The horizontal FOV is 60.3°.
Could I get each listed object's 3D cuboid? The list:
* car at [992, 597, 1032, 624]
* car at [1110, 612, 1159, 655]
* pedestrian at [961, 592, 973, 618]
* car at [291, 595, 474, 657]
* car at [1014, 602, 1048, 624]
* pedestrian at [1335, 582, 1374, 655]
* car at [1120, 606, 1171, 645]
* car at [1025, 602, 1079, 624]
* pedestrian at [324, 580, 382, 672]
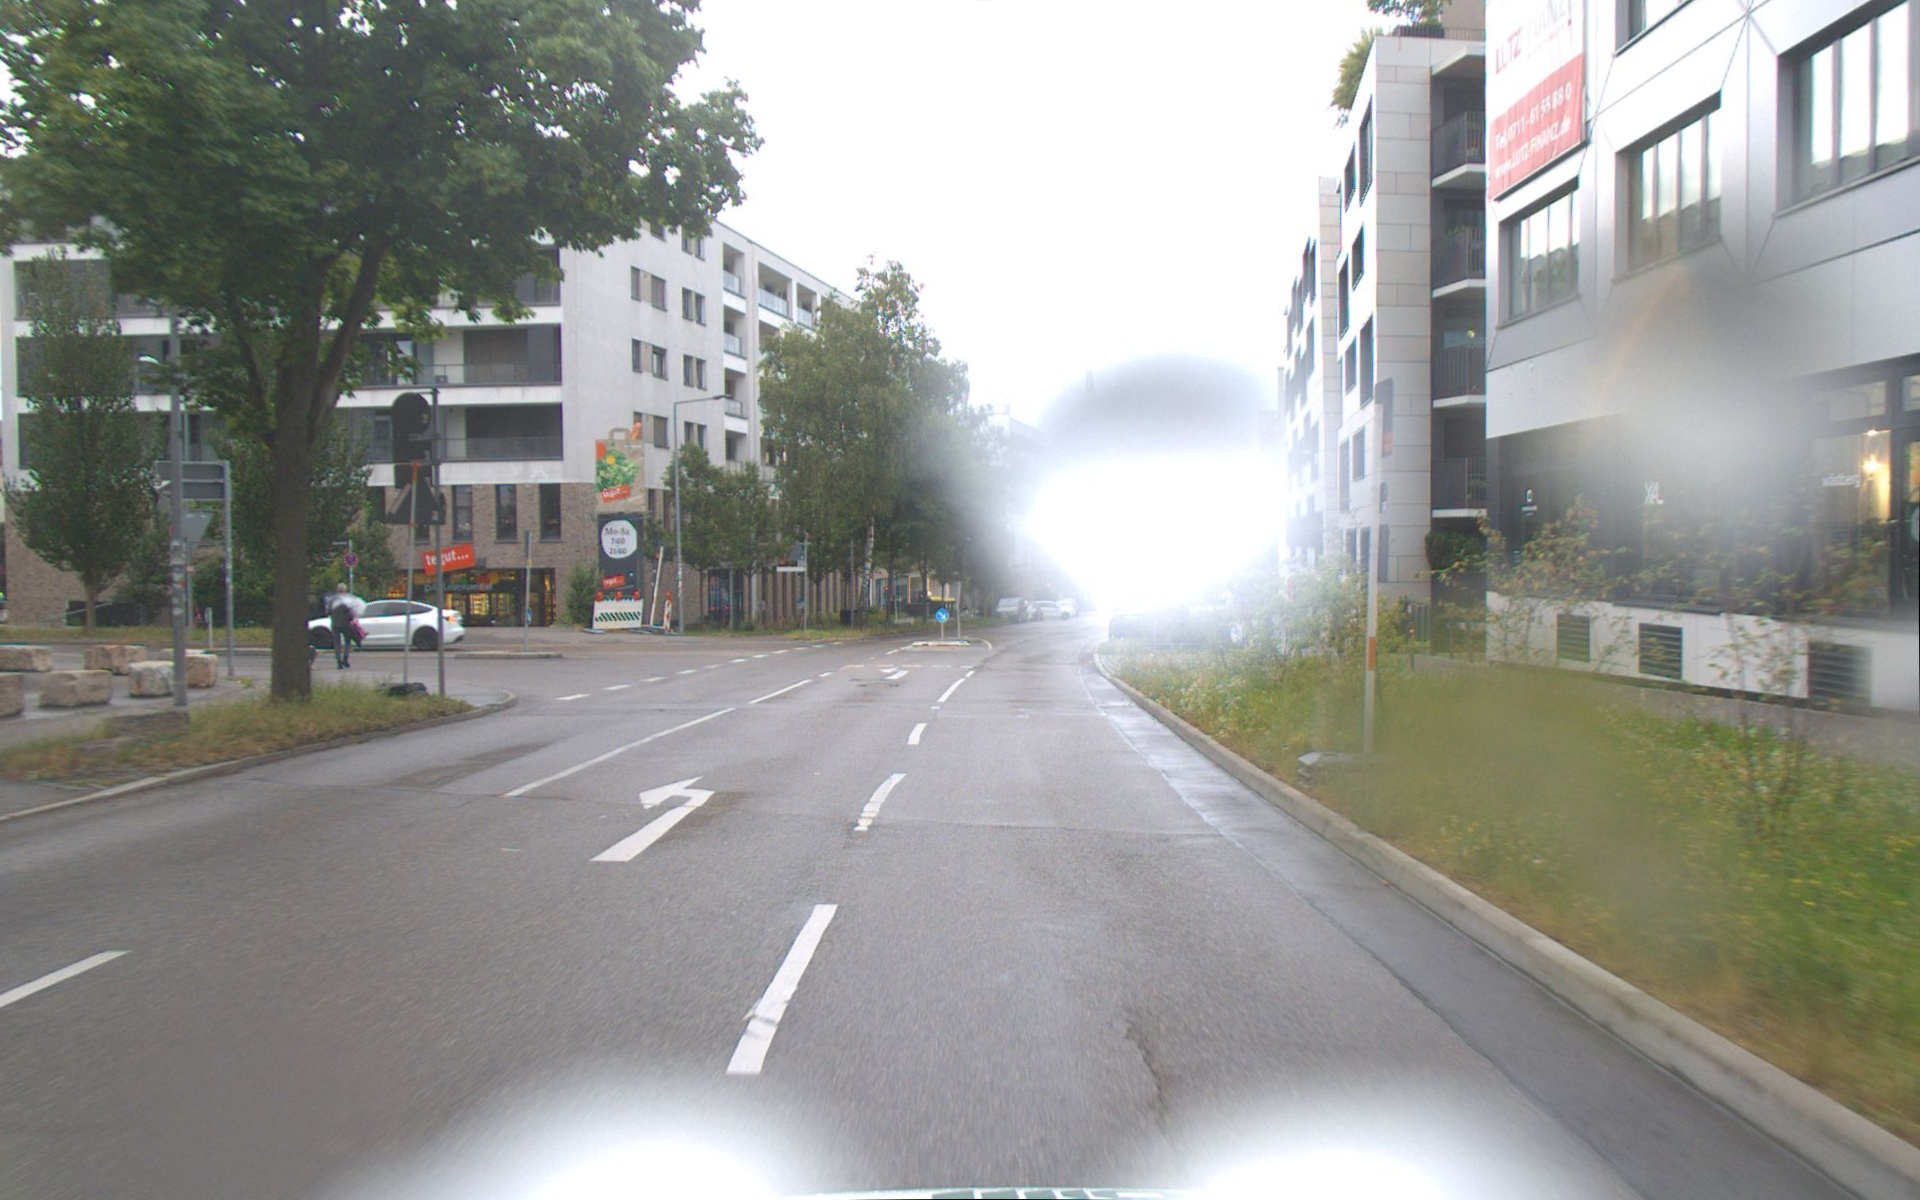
[{"bbox_3d":[3.472,0.687,109.059,2.033,1.637,4.689,-1,0,9],"label":"car"},{"bbox_3d":[6.533,1.222,61.778,1.513,1.504,3.664,0,1,11],"label":"car"},{"bbox_3d":[0.456,0.350,110.095,0.693,1.712,0.957,0,0,6],"label":"pedestrian"},{"bbox_3d":[-16.433,0.720,47.328,4.723,1.690,2.057,0,0,-14],"label":"car"},{"bbox_3d":[5.122,0.932,118.910,1.758,1.543,4.249,0,-1,12],"label":"car"},{"bbox_3d":[9.995,0.461,41.954,0.805,1.827,0.778,-1,-1,4],"label":"pedestrian"},{"bbox_3d":[7.555,1.032,66.977,1.769,1.510,4.499,0,-1,10],"label":"car"},{"bbox_3d":[6.981,0.998,125.892,3.905,1.604,1.998,0,0,-5],"label":"car"},{"bbox_3d":[-13.681,0.581,37.311,1.036,2.049,1.096,0,-1,-11],"label":"pedestrian"}]
